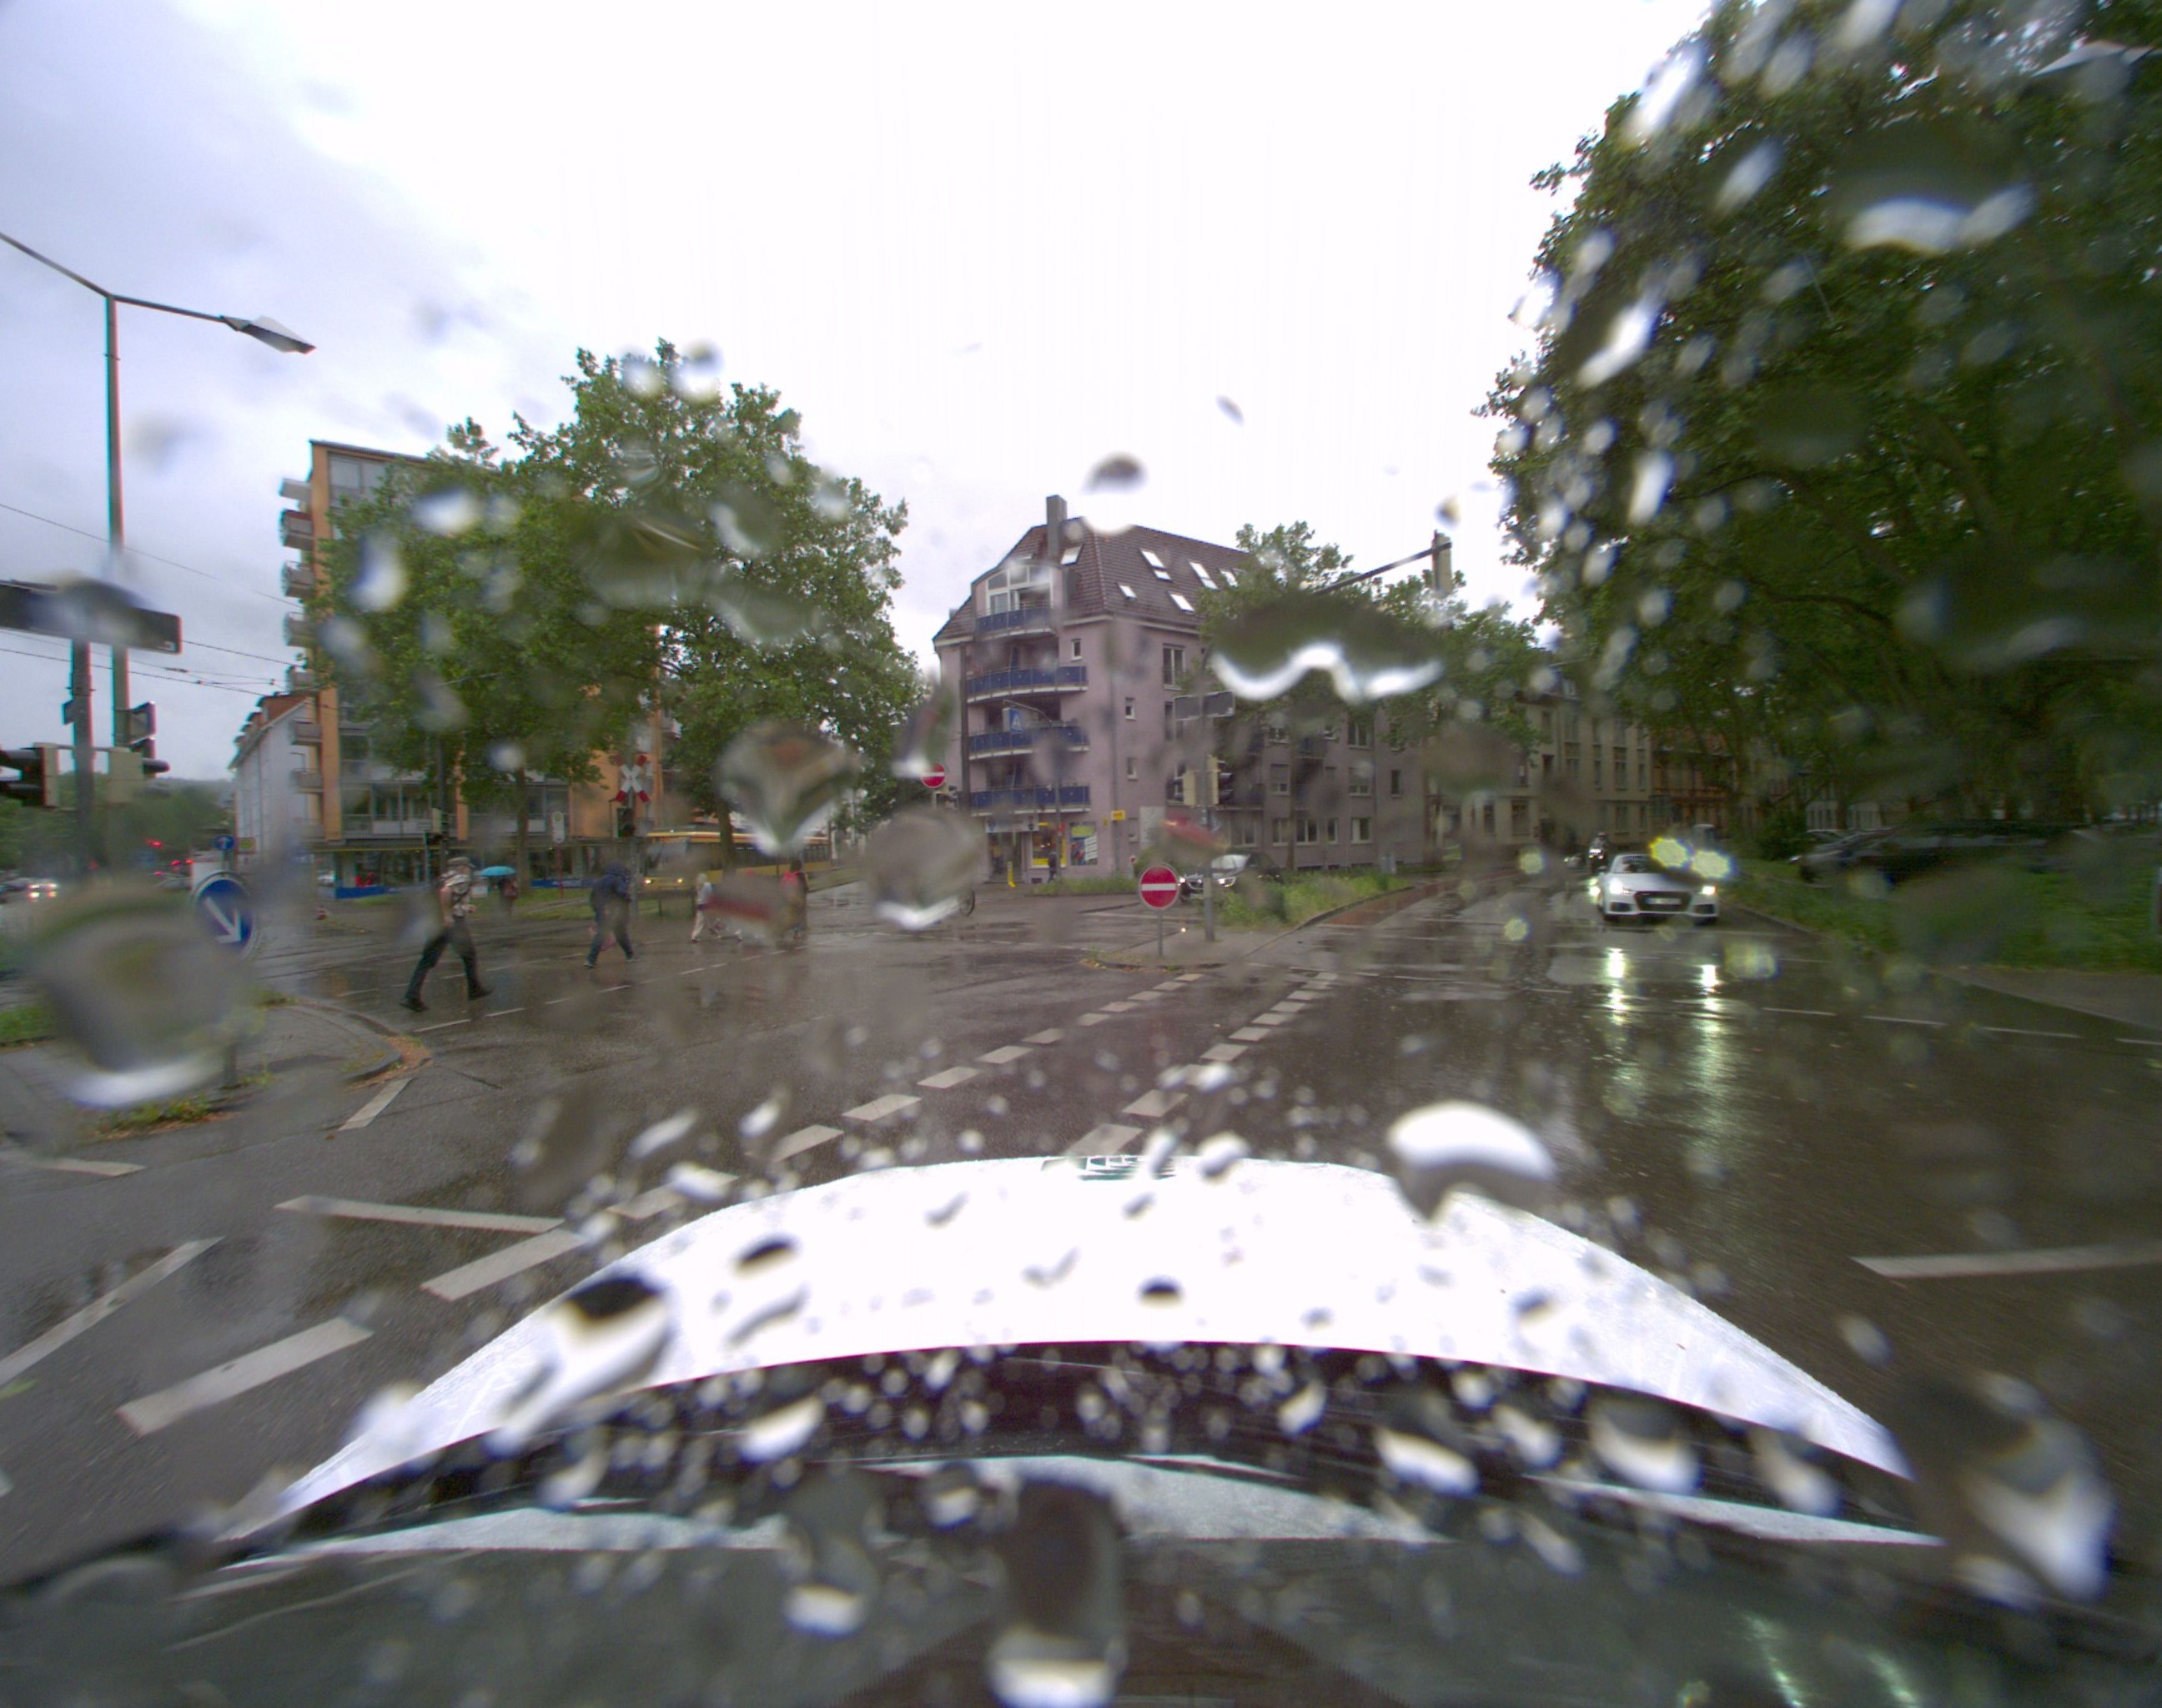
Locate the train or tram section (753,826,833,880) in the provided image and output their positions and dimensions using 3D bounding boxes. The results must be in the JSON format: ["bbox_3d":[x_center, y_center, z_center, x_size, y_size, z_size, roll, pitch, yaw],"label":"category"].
[{"bbox_3d":[-19.724,-0.069,56.422,2.633,3.351,9.971,-1,0,-5],"label":"train or tram section"}]

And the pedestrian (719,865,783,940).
[{"bbox_3d":[-6.533,0.946,16.149,0.667,1.381,1.014,-2,1,11],"label":"pedestrian"}]

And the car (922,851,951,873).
[{"bbox_3d":[-11.862,0.591,67.002,1.991,1.673,3.992,-2,1,-6],"label":"car"}]

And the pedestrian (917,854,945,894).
[{"bbox_3d":[-6.048,0.808,32.869,0.990,1.559,0.783,-2,0,-5],"label":"pedestrian"}]

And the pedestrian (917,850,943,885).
[{"bbox_3d":[-8.016,0.694,43.273,1.168,1.788,0.887,-1,0,-24],"label":"pedestrian"}]

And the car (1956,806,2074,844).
[{"bbox_3d":[70.703,-2.114,61.855,1.988,2.649,5.967,-1,0,-2],"label":"car"}]

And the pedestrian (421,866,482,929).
[{"bbox_3d":[-18.870,1.278,24.413,1.221,1.788,1.045,-1,0,33],"label":"pedestrian"}]

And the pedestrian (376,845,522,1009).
[{"bbox_3d":[-7.324,0.807,9.493,0.805,1.781,0.996,-2,1,7],"label":"pedestrian"}]

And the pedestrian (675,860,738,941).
[{"bbox_3d":[-7.574,0.910,16.523,0.876,1.525,1.061,-2,1,-11],"label":"pedestrian"}]

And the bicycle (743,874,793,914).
[{"bbox_3d":[-9.213,1.170,24.030,0.441,1.077,1.626,-1,0,16],"label":"bicycle"}]

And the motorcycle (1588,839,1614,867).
[{"bbox_3d":[23.209,-0.043,36.348,0.870,1.214,2.088,-1,0,35],"label":"motorcycle"}]

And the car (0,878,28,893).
[{"bbox_3d":[-122.885,3.654,93.753,3.948,1.530,1.793,1,1,34],"label":"car"}]

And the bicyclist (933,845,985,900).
[{"bbox_3d":[-3.061,0.443,20.378,1.063,1.309,0.747,-1,1,43],"label":"bicyclist"}]

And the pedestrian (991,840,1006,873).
[{"bbox_3d":[-4.034,0.113,39.870,0.467,1.602,0.597,-1,0,20],"label":"pedestrian"}]

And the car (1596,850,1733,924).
[{"bbox_3d":[11.758,0.592,16.667,1.879,1.275,4.198,-1,0,30],"label":"car"}]

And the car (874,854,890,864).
[{"bbox_3d":[-29.869,0.792,122.357,1.993,1.397,3.987,-1,0,-9],"label":"car"}]

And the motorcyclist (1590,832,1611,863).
[{"bbox_3d":[23.229,-0.295,36.388,0.748,1.351,0.759,-1,0,35],"label":"motorcyclist"}]

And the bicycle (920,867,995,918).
[{"bbox_3d":[-3.120,0.929,20.453,2.015,1.173,0.757,-1,2,43],"label":"bicycle"}]

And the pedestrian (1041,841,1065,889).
[{"bbox_3d":[-1.085,0.427,31.770,0.634,1.803,0.626,-1,1,29],"label":"pedestrian"}]

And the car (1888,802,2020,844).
[{"bbox_3d":[54.327,-1.883,50.902,2.219,2.401,5.605,-1,0,0],"label":"car"}]

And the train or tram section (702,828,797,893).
[{"bbox_3d":[-18.972,0.331,47.252,2.633,3.351,8.362,-1,0,-5],"label":"train or tram section"}]

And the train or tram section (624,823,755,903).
[{"bbox_3d":[-18.367,0.372,38.918,2.632,3.369,8.365,-1,0,-4],"label":"train or tram section"}]

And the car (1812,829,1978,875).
[{"bbox_3d":[27.711,-0.088,27.831,1.895,1.422,3.799,-3,2,-37],"label":"car"}]

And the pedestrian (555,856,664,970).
[{"bbox_3d":[-7.480,0.906,12.962,0.984,1.686,1.062,-1,1,24],"label":"pedestrian"}]

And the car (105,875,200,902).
[{"bbox_3d":[-63.829,2.348,56.036,1.864,1.568,4.230,-2,0,39],"label":"car"}]

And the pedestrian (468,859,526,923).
[{"bbox_3d":[-17.720,1.099,24.712,1.368,1.865,1.181,-1,0,43],"label":"pedestrian"}]

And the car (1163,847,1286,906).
[{"bbox_3d":[4.184,0.569,23.206,1.969,1.461,4.204,-1,1,32],"label":"car"}]

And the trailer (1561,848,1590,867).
[{"bbox_3d":[22.430,0.158,36.924,1.014,0.842,1.492,-1,0,35],"label":"trailer"}]

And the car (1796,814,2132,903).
[{"bbox_3d":[18.694,0.069,17.560,1.878,1.664,4.565,-1,0,-25],"label":"car"}]

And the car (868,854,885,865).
[{"bbox_3d":[-29.201,0.788,116.614,1.993,1.533,3.987,-1,0,-9],"label":"car"}]

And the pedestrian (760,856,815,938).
[{"bbox_3d":[-5.772,0.833,16.056,0.686,1.547,0.763,-2,1,8],"label":"pedestrian"}]
